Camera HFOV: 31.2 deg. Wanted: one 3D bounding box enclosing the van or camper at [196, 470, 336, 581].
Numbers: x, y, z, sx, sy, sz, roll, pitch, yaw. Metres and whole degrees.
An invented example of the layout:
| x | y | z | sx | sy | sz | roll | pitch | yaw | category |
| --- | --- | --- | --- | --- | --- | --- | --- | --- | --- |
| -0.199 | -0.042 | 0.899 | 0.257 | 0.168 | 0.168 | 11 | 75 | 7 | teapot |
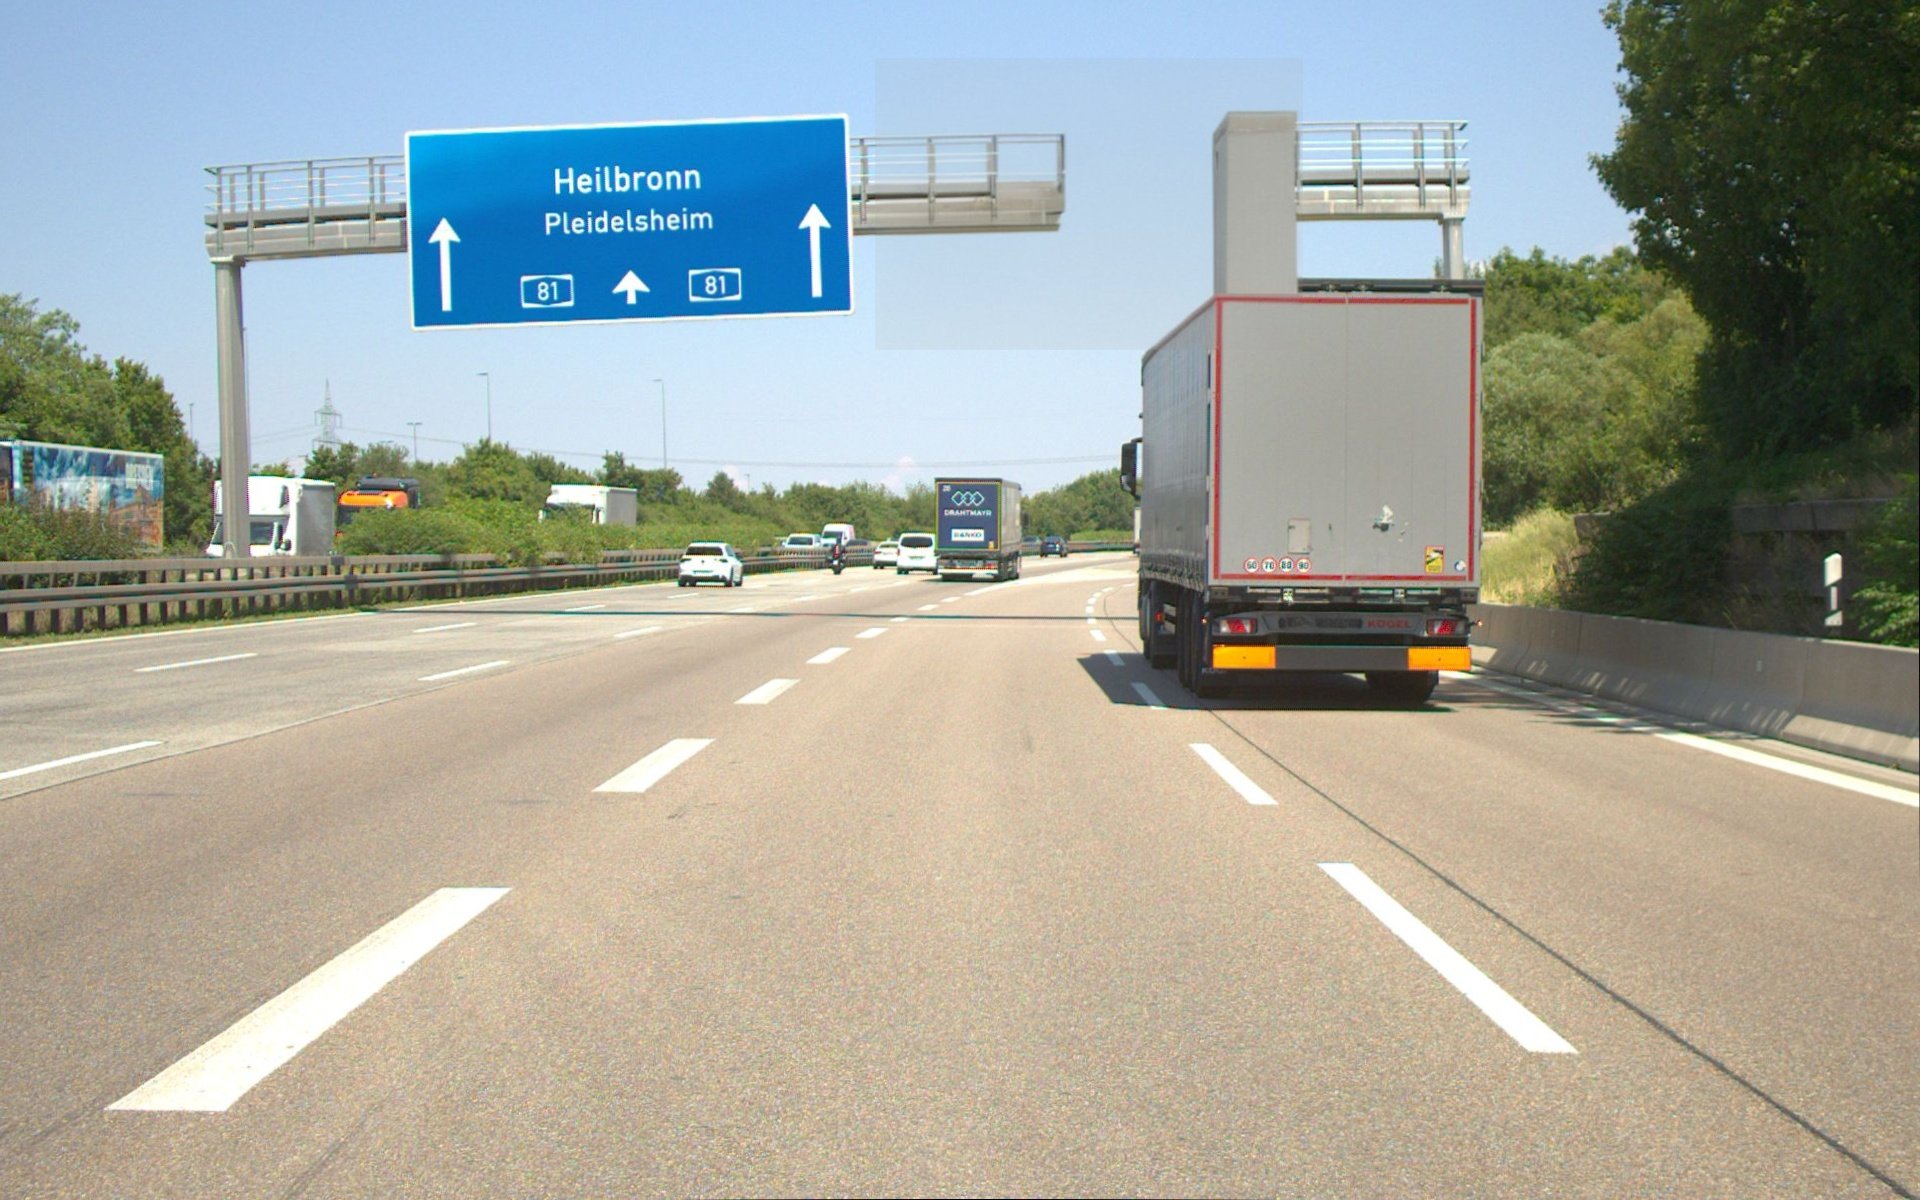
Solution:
| x | y | z | sx | sy | sz | roll | pitch | yaw | category |
| --- | --- | --- | --- | --- | --- | --- | --- | --- | --- |
| -20.919 | -2.247 | 104.012 | 2.474 | 3.209 | 7.823 | 1 | 1 | 1 | van or camper |

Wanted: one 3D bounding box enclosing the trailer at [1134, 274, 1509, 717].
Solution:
| x | y | z | sx | sy | sz | roll | pitch | yaw | category |
| --- | --- | --- | --- | --- | --- | --- | --- | --- | --- |
| 3.591 | -1.144 | 37.262 | 2.928 | 4.001 | 12.039 | -1 | 2 | 1 | trailer |

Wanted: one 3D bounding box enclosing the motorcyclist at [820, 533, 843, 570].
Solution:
| x | y | z | sx | sy | sz | roll | pitch | yaw | category |
| --- | --- | --- | --- | --- | --- | --- | --- | --- | --- |
| -5.640 | -2.126 | 151.158 | 0.893 | 1.591 | 1.299 | 0 | 2 | 2 | motorcyclist |

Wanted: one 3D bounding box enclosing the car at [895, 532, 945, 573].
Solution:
| x | y | z | sx | sy | sz | roll | pitch | yaw | category |
| --- | --- | --- | --- | --- | --- | --- | --- | --- | --- |
| -1.830 | -2.186 | 158.519 | 1.931 | 1.845 | 4.692 | -1 | 0 | 4 | car |

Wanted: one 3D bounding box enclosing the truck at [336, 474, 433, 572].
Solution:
| x | y | z | sx | sy | sz | roll | pitch | yaw | category |
| --- | --- | --- | --- | --- | --- | --- | --- | --- | --- |
| -22.827 | -3.042 | 136.583 | 2.753 | 3.780 | 5.102 | 1 | 1 | 3 | truck |

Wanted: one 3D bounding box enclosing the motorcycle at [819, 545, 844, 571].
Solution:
| x | y | z | sx | sy | sz | roll | pitch | yaw | category |
| --- | --- | --- | --- | --- | --- | --- | --- | --- | --- |
| -5.645 | -1.857 | 151.190 | 0.913 | 1.085 | 2.850 | 0 | 1 | 2 | motorcycle |

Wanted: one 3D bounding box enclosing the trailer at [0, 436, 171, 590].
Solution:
| x | y | z | sx | sy | sz | roll | pitch | yaw | category |
| --- | --- | --- | --- | --- | --- | --- | --- | --- | --- |
| -24.700 | -2.354 | 94.750 | 1.994 | 3.909 | 14.001 | 1 | 1 | 3 | trailer |

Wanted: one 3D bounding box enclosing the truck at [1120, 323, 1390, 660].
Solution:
| x | y | z | sx | sy | sz | roll | pitch | yaw | category |
| --- | --- | --- | --- | --- | --- | --- | --- | --- | --- |
| 3.707 | -1.419 | 44.917 | 2.928 | 4.001 | 7.584 | -1 | 2 | 1 | truck |

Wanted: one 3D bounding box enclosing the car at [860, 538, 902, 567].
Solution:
| x | y | z | sx | sy | sz | roll | pitch | yaw | category |
| --- | --- | --- | --- | --- | --- | --- | --- | --- | --- |
| -4.138 | -2.499 | 181.264 | 1.876 | 1.436 | 5.125 | 0 | 0 | 2 | car |

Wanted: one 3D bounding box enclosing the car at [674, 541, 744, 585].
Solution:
| x | y | z | sx | sy | sz | roll | pitch | yaw | category |
| --- | --- | --- | --- | --- | --- | --- | --- | --- | --- |
| -8.278 | -1.213 | 113.631 | 1.782 | 1.435 | 4.668 | 0 | 0 | 2 | car |

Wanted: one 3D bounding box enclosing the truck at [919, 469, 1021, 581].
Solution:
| x | y | z | sx | sy | sz | roll | pitch | yaw | category |
| --- | --- | --- | --- | --- | --- | --- | --- | --- | --- |
| 0.498 | -3.009 | 139.462 | 3.747 | 4.255 | 14.495 | 1 | 1 | 2 | truck |

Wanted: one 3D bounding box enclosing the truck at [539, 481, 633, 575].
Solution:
| x | y | z | sx | sy | sz | roll | pitch | yaw | category |
| --- | --- | --- | --- | --- | --- | --- | --- | --- | --- |
| -17.303 | -3.325 | 159.741 | 2.753 | 4.193 | 10.402 | 1 | 1 | 3 | truck |

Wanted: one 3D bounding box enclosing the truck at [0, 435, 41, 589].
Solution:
| x | y | z | sx | sy | sz | roll | pitch | yaw | category |
| --- | --- | --- | --- | --- | --- | --- | --- | --- | --- |
| -25.061 | -2.243 | 87.521 | 1.994 | 3.883 | 4.341 | 1 | 1 | 3 | truck |
